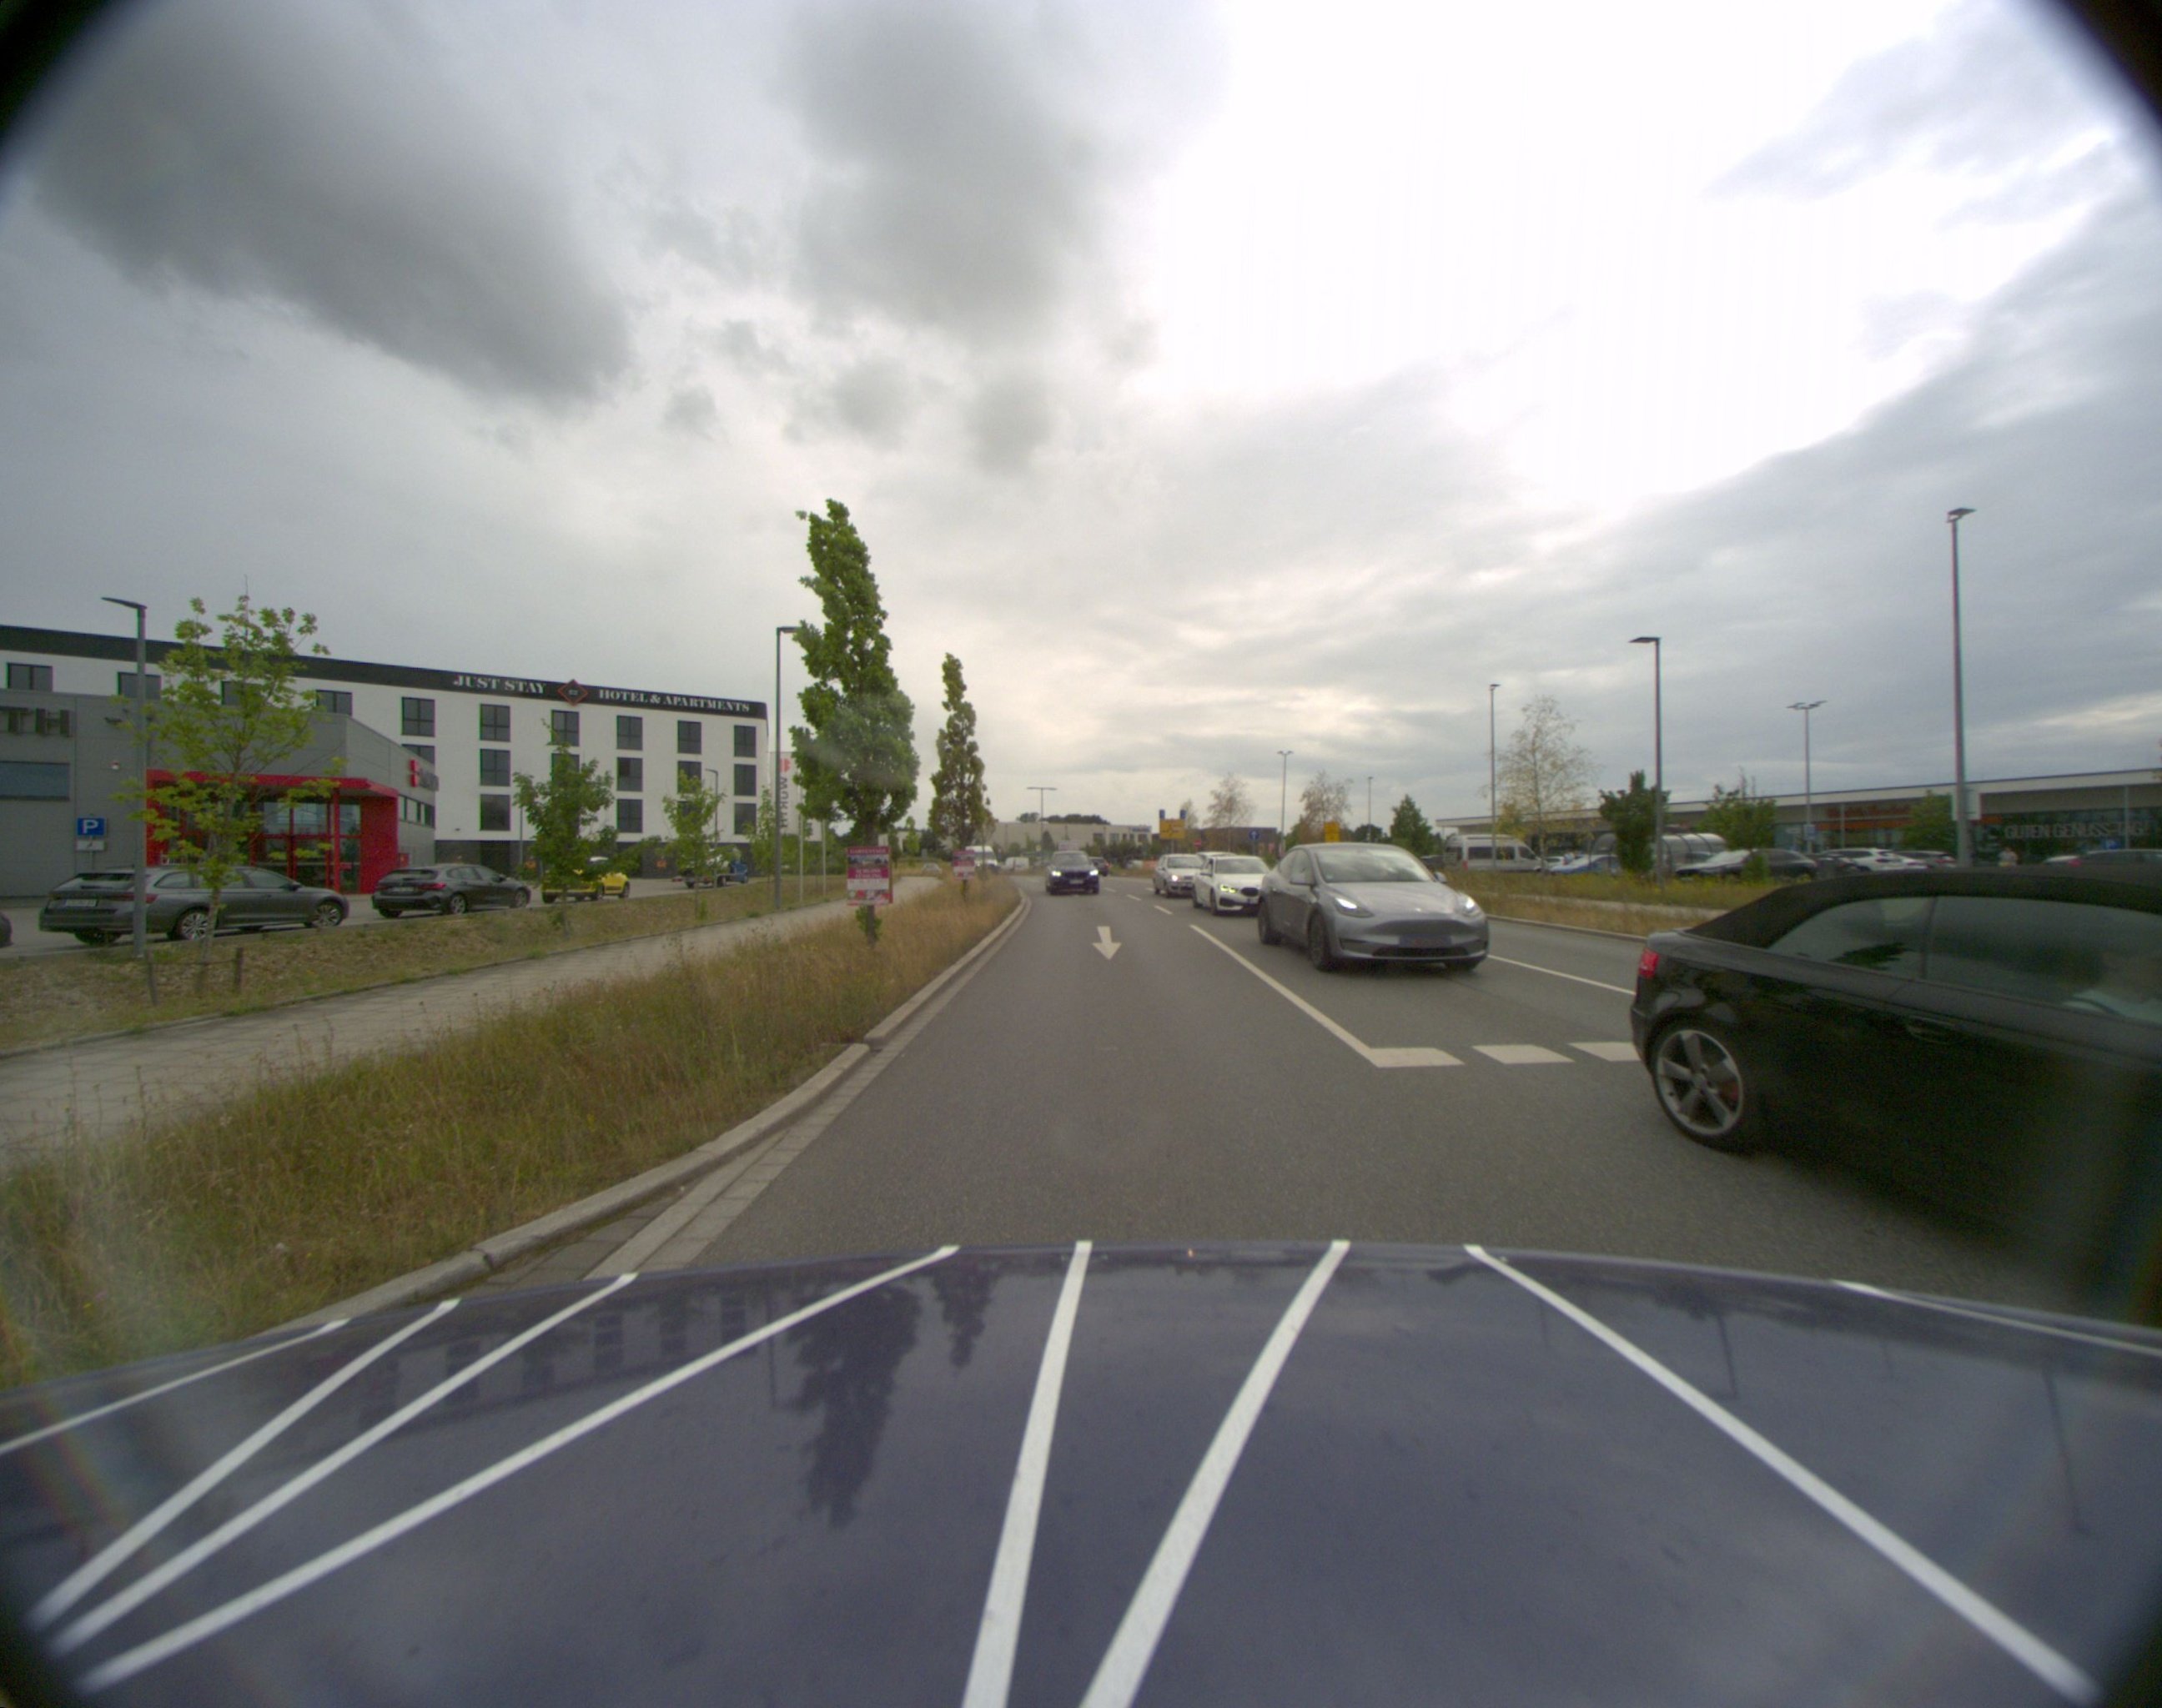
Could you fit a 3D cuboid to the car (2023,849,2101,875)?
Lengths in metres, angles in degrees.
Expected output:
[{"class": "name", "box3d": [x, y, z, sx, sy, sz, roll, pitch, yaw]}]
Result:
[{"class": "car", "box3d": [56.271, 0.443, 43.594, 4.058, 1.473, 2.000, 0, 0, -26]}]

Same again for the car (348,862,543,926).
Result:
[{"class": "car", "box3d": [-17.886, 1.047, 21.758, 2.000, 1.488, 4.605, 0, 1, -6]}]

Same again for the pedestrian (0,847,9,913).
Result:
[{"class": "pedestrian", "box3d": [-30.971, 0.745, 21.421, 0.616, 1.857, 0.799, -1, 1, -36]}]

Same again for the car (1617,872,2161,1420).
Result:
[{"class": "car", "box3d": [3.874, 0.847, 2.101, 1.773, 1.429, 4.230, 0, 1, 0]}]

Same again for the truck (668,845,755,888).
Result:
[{"class": "truck", "box3d": [-21.494, 0.686, 44.676, 2.234, 2.312, 8.208, 0, 0, -9]}]

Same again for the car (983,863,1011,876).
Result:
[{"class": "car", "box3d": [-9.812, 1.744, 88.369, 2.174, 1.474, 4.895, 0, 0, -21]}]

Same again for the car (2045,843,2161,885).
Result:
[{"class": "car", "box3d": [39.601, 0.368, 28.310, 2.002, 1.510, 4.187, -1, 0, -23]}]

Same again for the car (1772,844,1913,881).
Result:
[{"class": "car", "box3d": [40.858, 0.430, 40.959, 2.161, 1.888, 4.918, 0, 0, -18]}]

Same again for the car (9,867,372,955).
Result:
[{"class": "car", "box3d": [-17.532, 1.024, 15.471, 1.869, 1.428, 4.878, 0, 0, -4]}]

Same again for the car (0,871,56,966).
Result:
[{"class": "car", "box3d": [-17.472, 0.990, 9.818, 1.967, 1.451, 4.831, 0, 0, -2]}]

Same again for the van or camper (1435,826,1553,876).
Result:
[{"class": "van or camper", "box3d": [24.031, -0.195, 44.298, 5.872, 2.784, 2.241, 0, 1, -10]}]

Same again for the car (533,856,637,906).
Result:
[{"class": "car", "box3d": [-18.243, 0.940, 28.200, 1.769, 1.676, 4.406, 0, 0, -13]}]

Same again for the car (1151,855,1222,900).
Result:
[{"class": "car", "box3d": [3.605, 0.769, 26.618, 1.707, 1.429, 4.031, 0, 0, -3]}]

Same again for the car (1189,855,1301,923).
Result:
[{"class": "car", "box3d": [3.977, 0.779, 19.085, 1.885, 1.460, 4.192, 0, 1, 0]}]

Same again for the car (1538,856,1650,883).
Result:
[{"class": "car", "box3d": [25.392, 0.761, 37.679, 4.337, 1.297, 2.010, 0, 0, -6]}]

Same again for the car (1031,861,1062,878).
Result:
[{"class": "car", "box3d": [-3.272, 1.433, 71.460, 1.725, 1.437, 4.227, 1, 0, -21]}]

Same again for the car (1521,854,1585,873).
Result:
[{"class": "car", "box3d": [36.535, 0.742, 58.935, 1.892, 1.433, 3.896, 0, 0, -21]}]

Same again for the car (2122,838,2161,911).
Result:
[{"class": "car", "box3d": [26.362, 0.443, 16.689, 4.312, 1.645, 2.080, 0, 0, -3]}]

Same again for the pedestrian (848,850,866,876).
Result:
[{"class": "pedestrian", "box3d": [-16.477, 0.666, 55.846, 1.195, 1.847, 1.073, 0, 2, -12]}]

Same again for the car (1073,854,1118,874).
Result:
[{"class": "car", "box3d": [1.083, 0.786, 59.299, 1.793, 1.481, 4.758, 0, 0, -21]}]

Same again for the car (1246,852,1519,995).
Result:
[{"class": "car", "box3d": [3.802, 0.767, 10.634, 1.998, 1.552, 4.613, 0, 0, 0]}]

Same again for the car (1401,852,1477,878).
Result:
[{"class": "car", "box3d": [23.032, 0.713, 48.934, 3.956, 1.624, 2.083, 0, 0, -8]}]

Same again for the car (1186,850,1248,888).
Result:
[{"class": "car", "box3d": [6.316, 0.664, 35.773, 1.999, 1.627, 4.702, 1, 0, -1]}]

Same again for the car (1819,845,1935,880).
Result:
[{"class": "car", "box3d": [43.329, 0.412, 41.473, 1.781, 1.762, 3.993, -1, 1, -19]}]

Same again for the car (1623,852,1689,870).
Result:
[{"class": "car", "box3d": [47.986, 0.590, 63.501, 2.001, 1.433, 3.995, 0, 0, -15]}]

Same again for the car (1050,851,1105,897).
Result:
[{"class": "car", "box3d": [-0.212, 0.732, 29.892, 1.999, 1.654, 3.999, -1, 0, -2]}]

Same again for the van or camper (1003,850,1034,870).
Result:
[{"class": "van or camper", "box3d": [-6.731, 0.625, 81.022, 1.955, 1.996, 5.119, 0, 0, -21]}]

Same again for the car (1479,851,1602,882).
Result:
[{"class": "car", "box3d": [19.696, 0.526, 32.697, 4.091, 1.252, 2.011, 0, 0, 0]}]

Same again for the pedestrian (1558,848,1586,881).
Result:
[{"class": "pedestrian", "box3d": [28.312, 0.591, 43.809, 1.013, 1.879, 1.111, -1, 0, -42]}]

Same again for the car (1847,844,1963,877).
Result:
[{"class": "car", "box3d": [46.009, 0.347, 42.533, 1.888, 1.761, 3.993, 0, 0, -22]}]

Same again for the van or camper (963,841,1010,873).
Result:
[{"class": "van or camper", "box3d": [-8.088, 0.271, 64.451, 2.269, 2.601, 5.685, 0, 0, -25]}]
